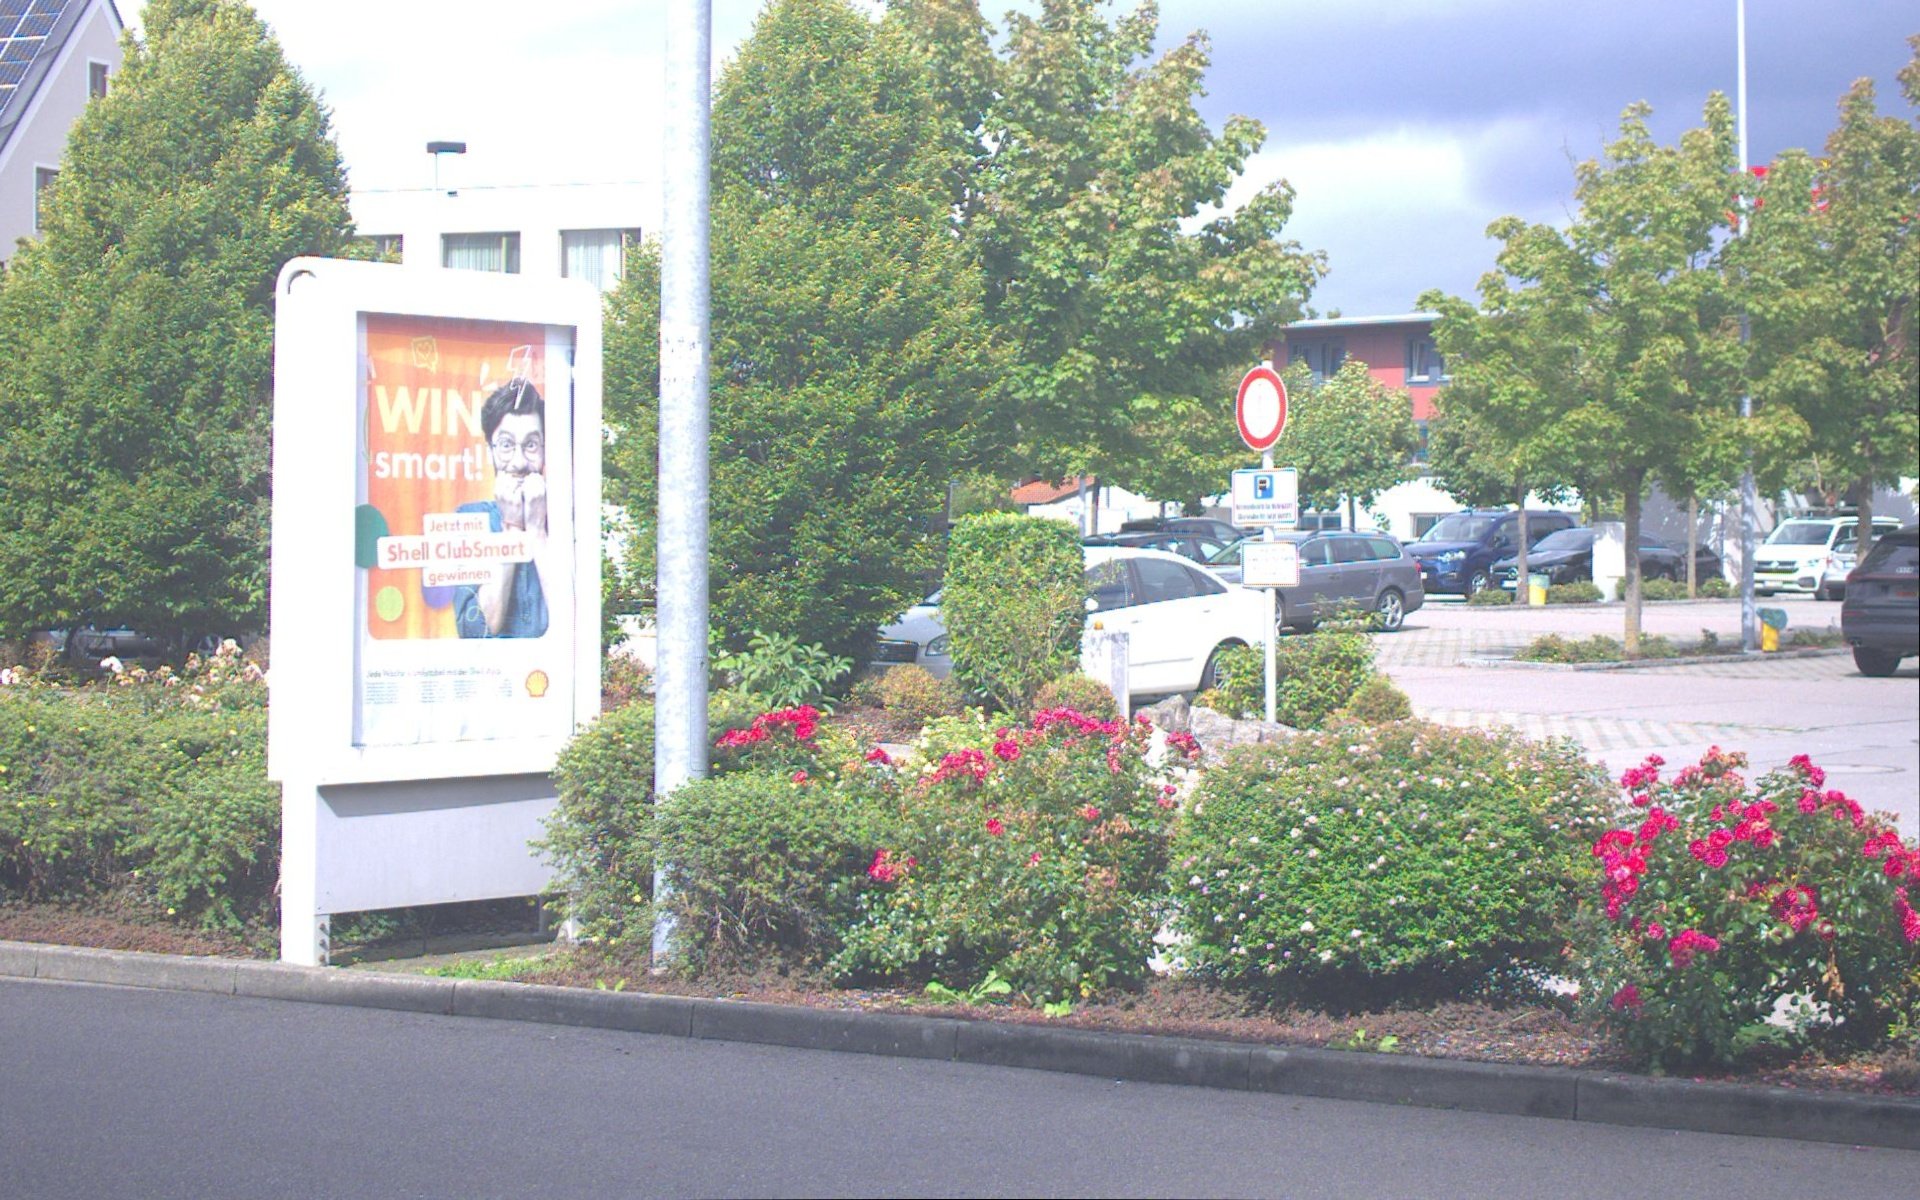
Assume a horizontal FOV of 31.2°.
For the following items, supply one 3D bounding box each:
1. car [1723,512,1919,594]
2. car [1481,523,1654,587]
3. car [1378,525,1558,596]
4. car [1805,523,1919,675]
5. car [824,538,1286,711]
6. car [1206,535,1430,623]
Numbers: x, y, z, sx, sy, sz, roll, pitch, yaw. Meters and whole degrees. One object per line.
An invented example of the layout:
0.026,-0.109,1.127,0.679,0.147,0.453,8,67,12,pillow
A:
20.243,-1.090,80.642,4.864,1.827,2.184,0,1,-43,car
11.510,-0.844,65.036,3.409,1.174,1.485,0,1,-44,car
9.881,-0.763,66.784,3.379,1.316,1.747,0,1,-44,car
11.126,-0.012,36.731,4.491,1.543,1.885,0,1,-43,car
0.897,0.198,29.928,4.332,1.399,1.370,0,1,-44,car
5.196,-0.295,49.717,3.218,1.224,1.505,0,1,-44,car
